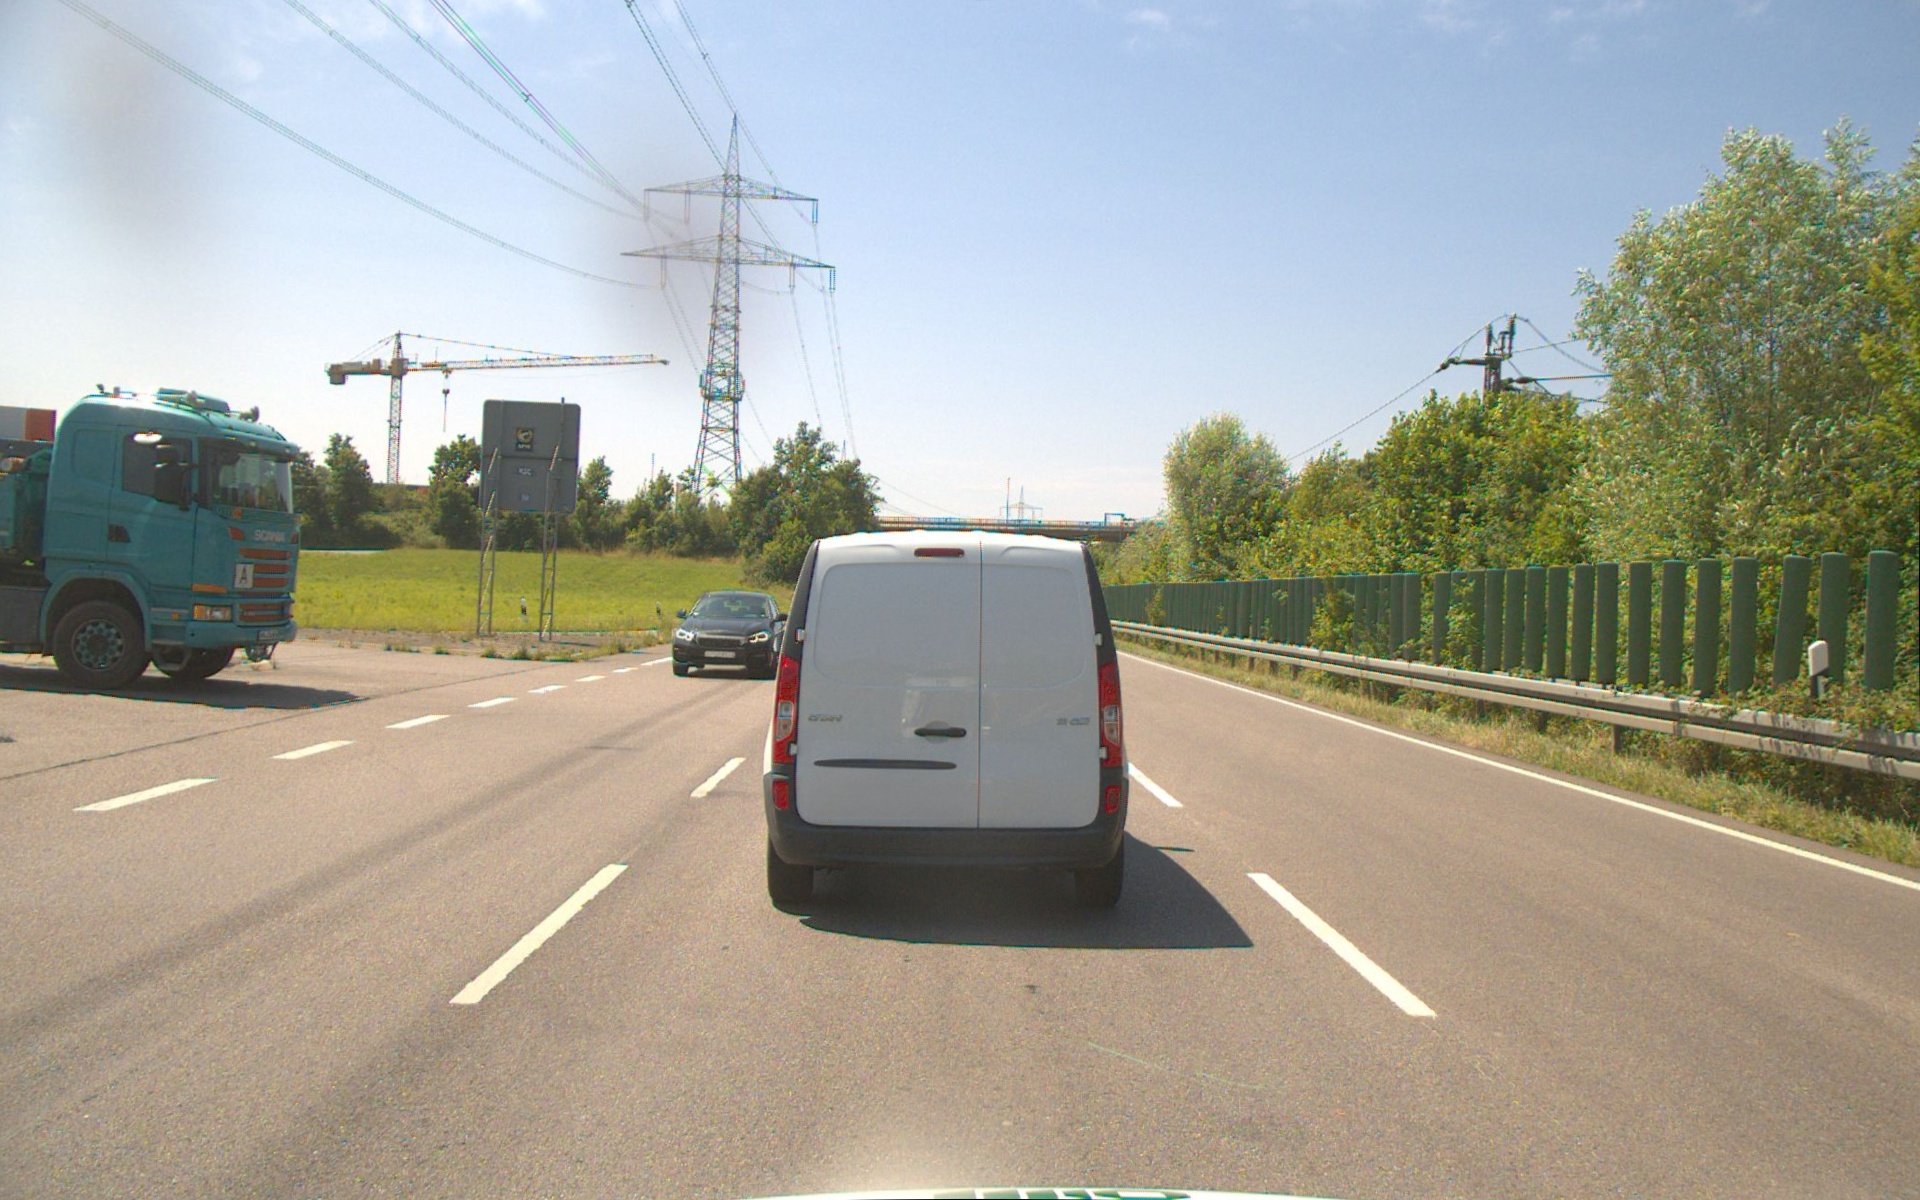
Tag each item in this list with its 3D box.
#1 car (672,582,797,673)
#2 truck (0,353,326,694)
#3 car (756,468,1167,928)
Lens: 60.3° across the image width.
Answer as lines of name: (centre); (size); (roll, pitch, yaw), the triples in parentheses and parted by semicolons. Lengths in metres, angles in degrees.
car: (-4.001, 0.461, 29.865); (1.746, 1.489, 3.999); (2, 0, -1)
truck: (-12.337, -1.055, 20.537); (7.742, 3.799, 2.498); (4, 0, 1)
car: (-0.037, 0.425, 9.302); (1.790, 2.005, 3.999); (1, 0, -1)
